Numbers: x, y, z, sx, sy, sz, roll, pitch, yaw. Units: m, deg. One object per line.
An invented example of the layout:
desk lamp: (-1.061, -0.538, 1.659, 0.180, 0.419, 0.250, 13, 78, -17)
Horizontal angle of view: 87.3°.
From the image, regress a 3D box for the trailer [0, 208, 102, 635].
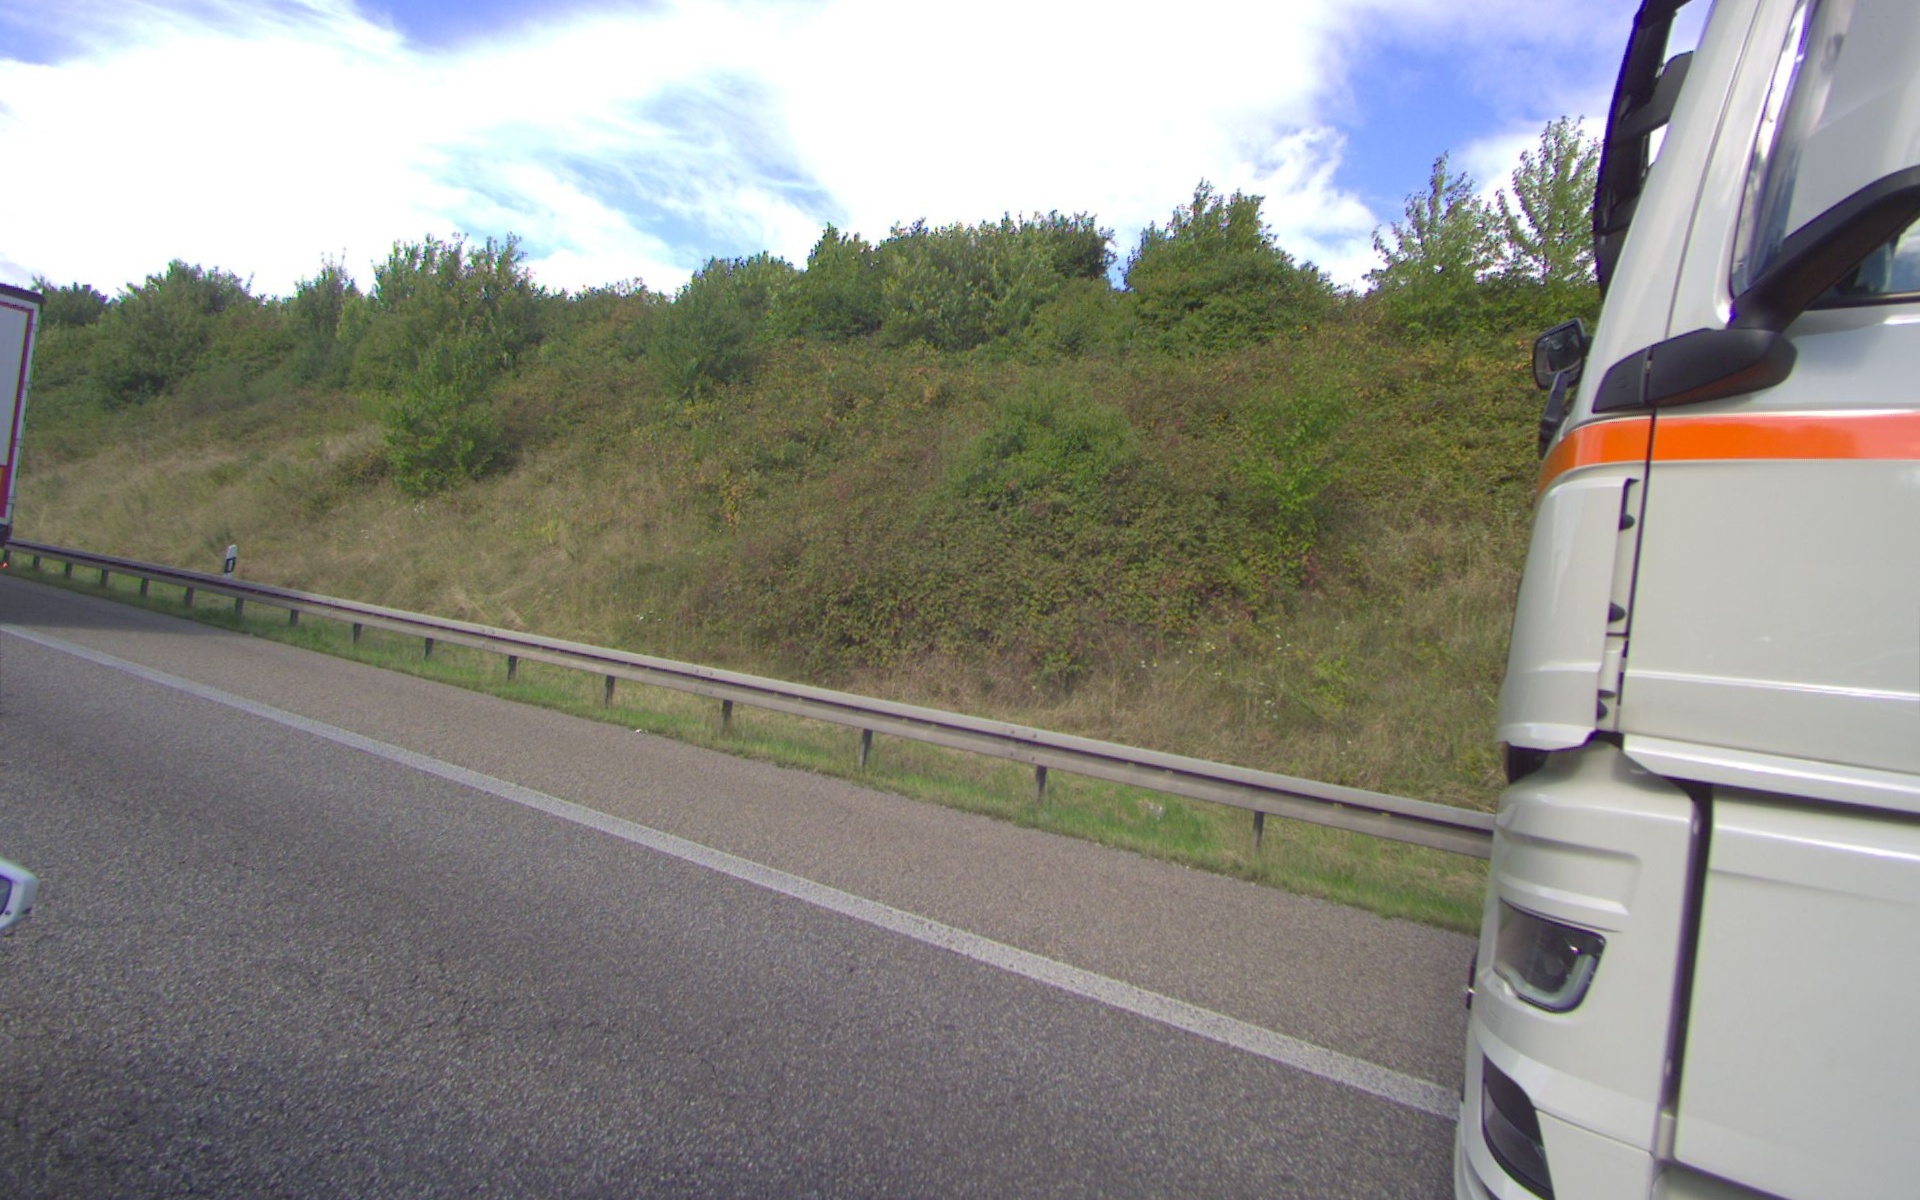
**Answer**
trailer: (-16.765, -2.705, 14.091, 13.069, 4.715, 3.007, 7, -1, 32)

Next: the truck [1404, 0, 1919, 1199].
truck: (4.124, -0.050, 1.376, 5.808, 4.091, 2.806, 6, -1, 33)
